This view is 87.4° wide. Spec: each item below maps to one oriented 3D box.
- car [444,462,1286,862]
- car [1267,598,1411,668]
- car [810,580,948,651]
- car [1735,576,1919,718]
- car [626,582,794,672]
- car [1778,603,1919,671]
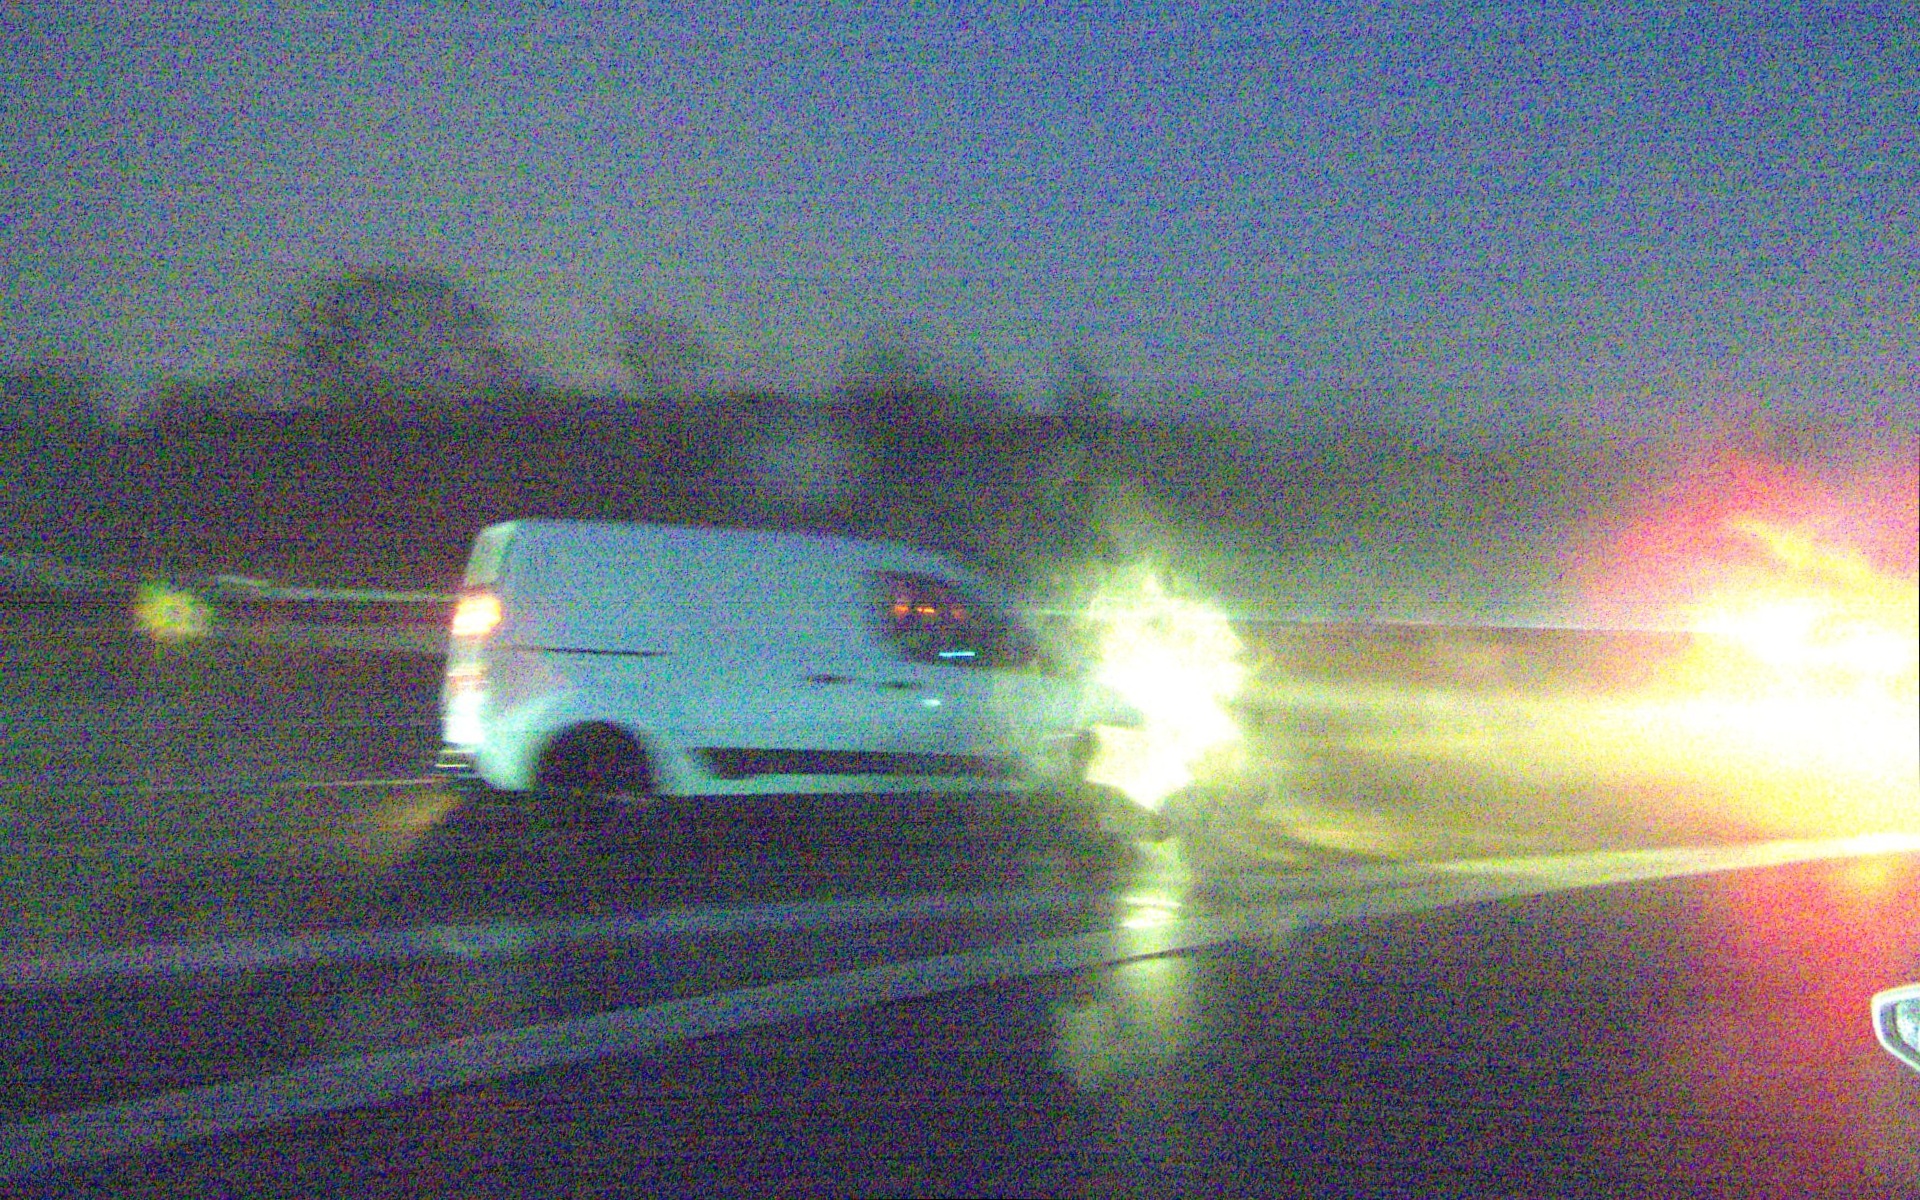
[{"bbox_3d":[-0.522,0.385,6.800,4.936,2.040,1.993,2,0,-17],"label":"car"},{"bbox_3d":[12.235,1.066,32.506,3.938,2.041,1.991,1,3,-19],"label":"car"},{"bbox_3d":[-2.565,0.474,31.525,3.936,2.008,1.992,1,3,-17],"label":"car"},{"bbox_3d":[15.396,0.732,16.544,4.498,2.041,1.990,1,3,-20],"label":"car"},{"bbox_3d":[-6.289,0.674,25.476,3.933,2.041,1.994,2,3,-14],"label":"car"},{"bbox_3d":[29.862,1.218,33.327,4.494,2.041,1.992,2,3,-17],"label":"car"}]
